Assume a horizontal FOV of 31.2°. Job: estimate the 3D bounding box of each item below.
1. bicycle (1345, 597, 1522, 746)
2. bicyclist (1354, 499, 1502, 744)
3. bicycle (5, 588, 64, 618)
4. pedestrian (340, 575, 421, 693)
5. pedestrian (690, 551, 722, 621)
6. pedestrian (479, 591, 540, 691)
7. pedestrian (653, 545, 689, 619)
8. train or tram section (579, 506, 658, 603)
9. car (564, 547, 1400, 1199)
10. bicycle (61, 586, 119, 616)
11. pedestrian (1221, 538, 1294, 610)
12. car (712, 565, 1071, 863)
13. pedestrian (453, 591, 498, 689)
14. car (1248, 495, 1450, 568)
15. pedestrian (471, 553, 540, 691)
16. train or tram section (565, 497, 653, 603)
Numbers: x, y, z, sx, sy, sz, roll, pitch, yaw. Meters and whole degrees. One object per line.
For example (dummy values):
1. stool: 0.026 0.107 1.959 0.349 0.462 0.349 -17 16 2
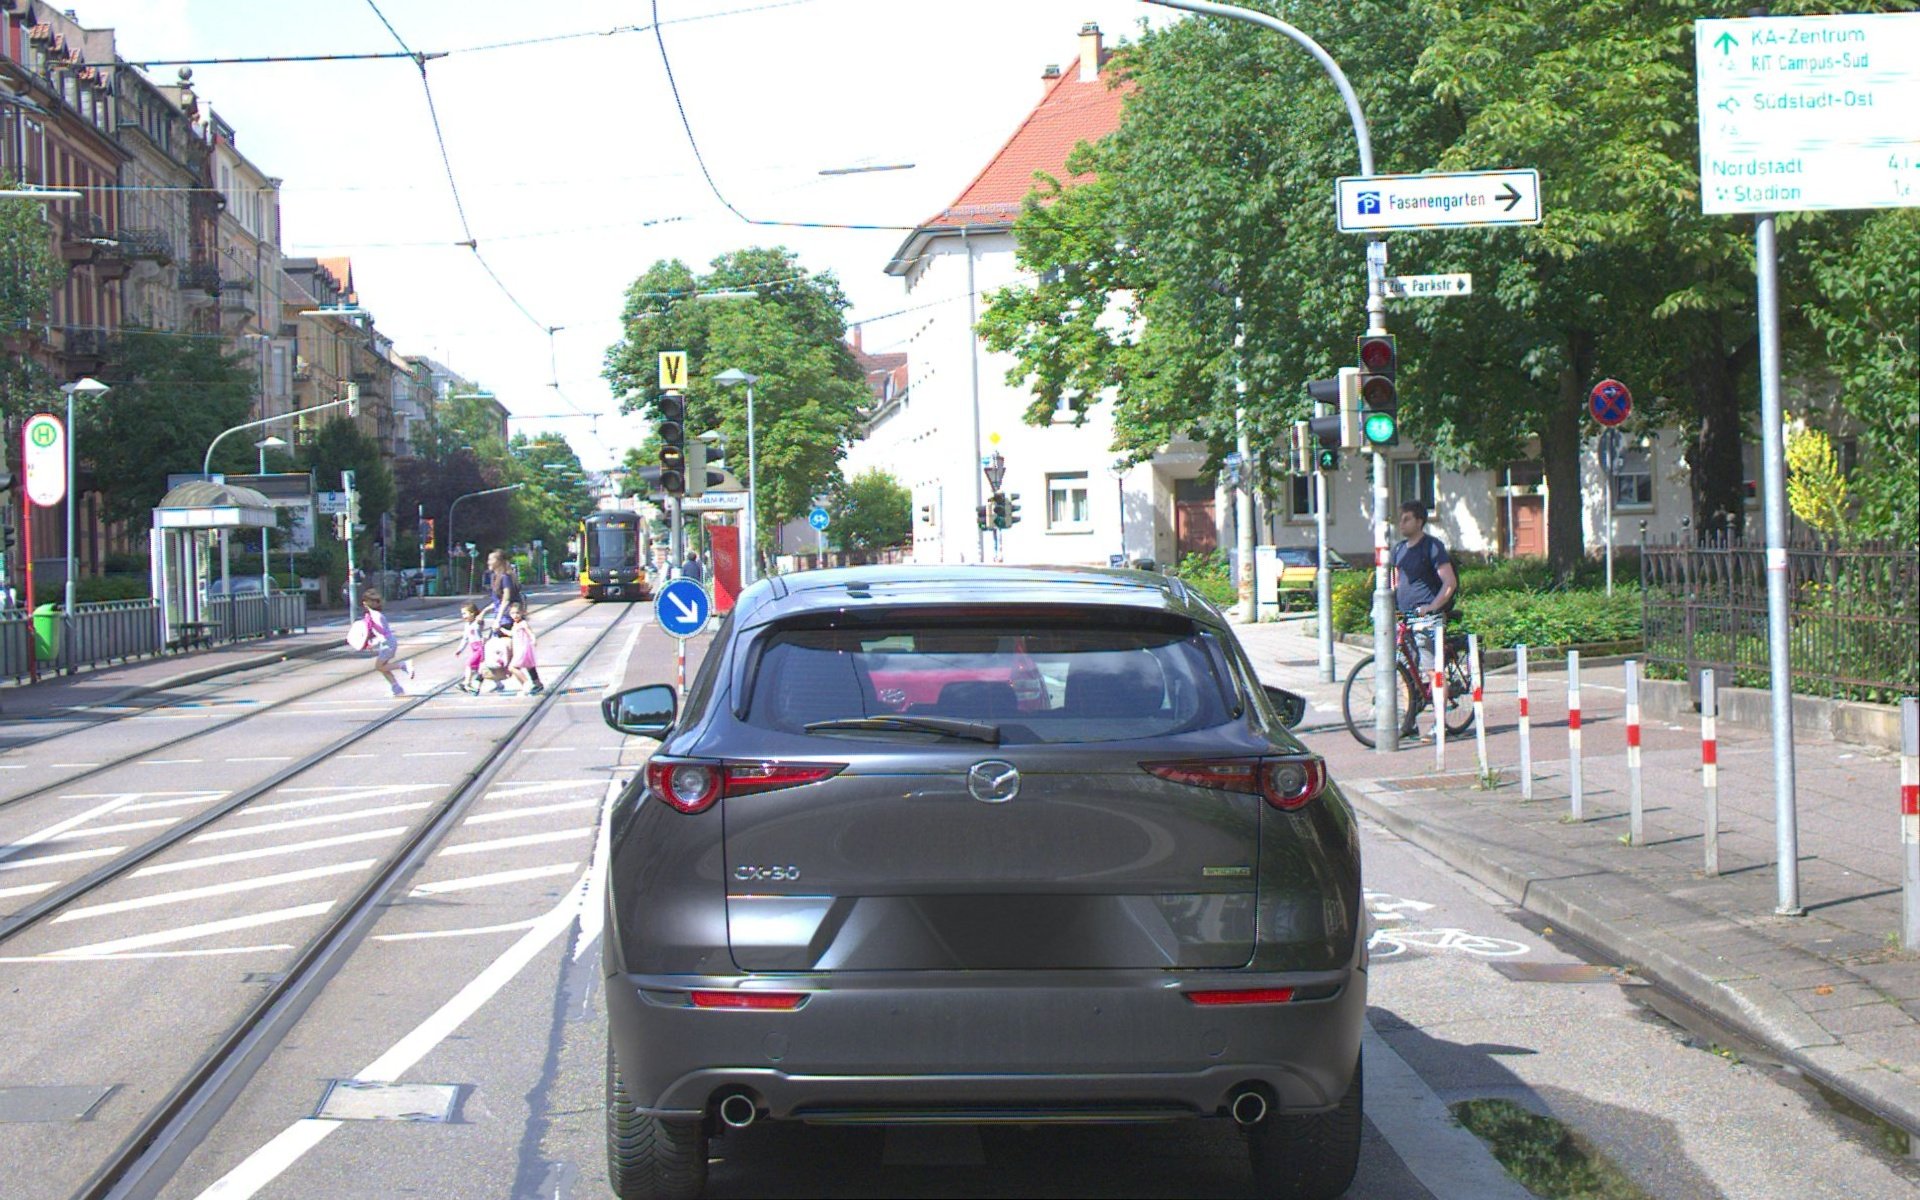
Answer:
1. bicycle: 3.634 0.533 26.276 0.389 1.032 1.841 -1 2 40
2. bicyclist: 3.555 0.154 26.142 0.733 1.813 0.820 -2 1 -27
3. bicycle: -24.720 0.075 91.842 0.386 0.745 1.708 -1 1 32
4. pedestrian: -6.671 0.387 39.600 0.825 1.299 0.717 -4 1 -9
5. pedestrian: -5.648 -0.321 76.478 0.667 1.540 0.581 -1 1 -5
6. pedestrian: -5.118 0.460 39.044 0.641 1.110 0.444 -2 1 -9
7. pedestrian: -6.655 -0.412 79.057 0.770 1.669 0.668 -2 1 -5
8. train or tram section: -14.958 -1.898 151.331 2.997 3.970 13.810 -2 0 -4
9. car: 0.034 0.637 9.394 1.782 1.509 4.000 1 0 0
10. bicycle: -23.670 0.027 93.544 0.386 0.745 1.708 -1 1 32
11. pedestrian: 5.617 -0.493 64.935 1.192 1.264 0.558 -4 1 -9
12. car: -0.405 0.549 18.953 1.775 1.459 3.843 0 1 -2
13. pedestrian: -5.673 0.464 40.245 0.437 1.104 0.423 -4 1 -9
14. car: 8.841 -1.549 78.231 4.167 1.504 1.848 -1 2 38
15. pedestrian: -5.248 0.250 39.668 0.728 1.560 0.799 -2 1 -9
16. train or tram section: -13.958 -1.892 137.535 2.997 3.970 13.810 -2 0 -4
